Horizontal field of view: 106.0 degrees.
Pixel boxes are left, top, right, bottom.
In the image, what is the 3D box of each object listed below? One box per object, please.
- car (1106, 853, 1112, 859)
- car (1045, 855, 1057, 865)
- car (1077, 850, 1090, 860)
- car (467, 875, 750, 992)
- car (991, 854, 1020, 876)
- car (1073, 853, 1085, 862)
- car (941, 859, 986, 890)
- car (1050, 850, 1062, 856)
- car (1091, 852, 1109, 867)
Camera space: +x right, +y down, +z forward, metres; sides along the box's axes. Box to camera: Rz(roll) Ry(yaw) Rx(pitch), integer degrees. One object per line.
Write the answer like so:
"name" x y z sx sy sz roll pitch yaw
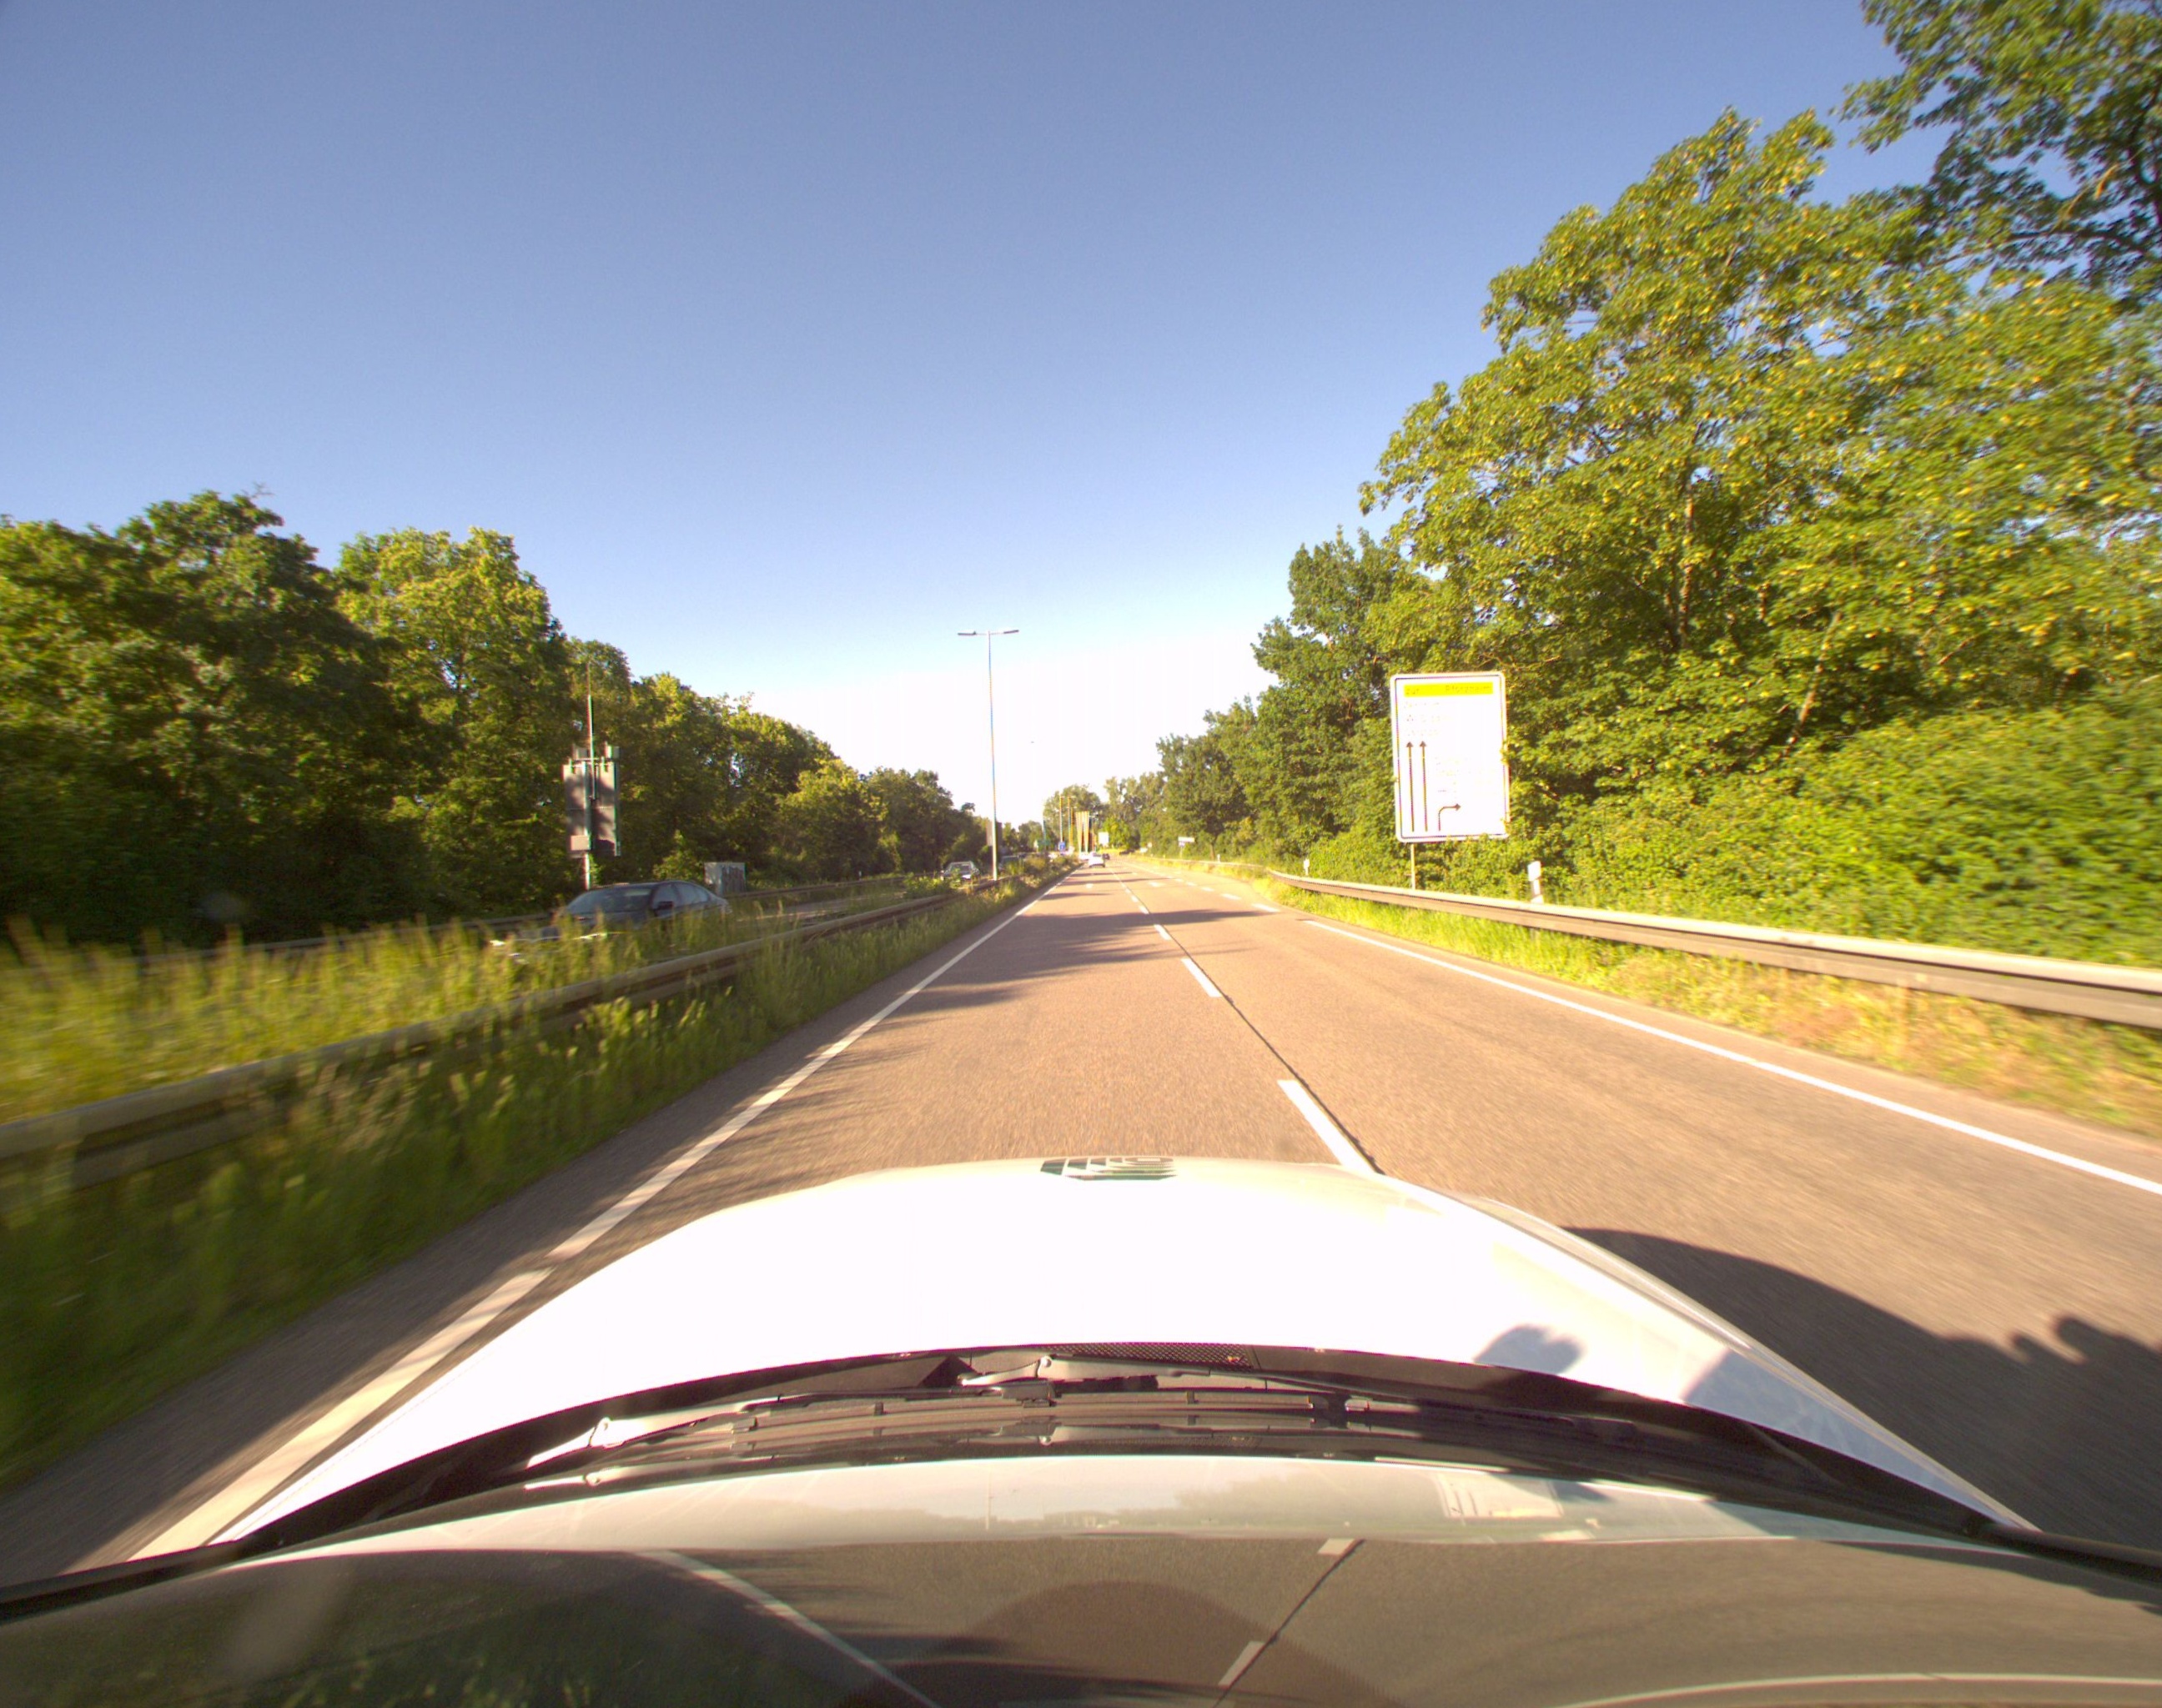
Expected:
"car" 5.875 0.393 170.811 1.383 1.280 2.987 0 -1 1
"car" -5.364 1.100 146.284 1.779 1.710 4.547 -3 0 1
"car" 0.482 0.232 174.193 1.993 1.879 4.235 -3 1 -9
"car" -7.423 1.148 13.466 1.774 1.403 4.556 -3 0 3
"car" -6.364 0.898 69.297 1.835 1.757 4.713 -3 0 1
"car" -0.484 0.826 195.579 1.994 2.014 3.985 0 -1 -11
"car" -6.625 1.117 46.298 1.612 1.530 4.612 -3 0 3
"car" -6.408 -0.219 208.466 2.269 1.508 3.981 -3 0 -14
"car" 2.268 0.627 97.613 1.987 1.640 4.129 -3 1 1
